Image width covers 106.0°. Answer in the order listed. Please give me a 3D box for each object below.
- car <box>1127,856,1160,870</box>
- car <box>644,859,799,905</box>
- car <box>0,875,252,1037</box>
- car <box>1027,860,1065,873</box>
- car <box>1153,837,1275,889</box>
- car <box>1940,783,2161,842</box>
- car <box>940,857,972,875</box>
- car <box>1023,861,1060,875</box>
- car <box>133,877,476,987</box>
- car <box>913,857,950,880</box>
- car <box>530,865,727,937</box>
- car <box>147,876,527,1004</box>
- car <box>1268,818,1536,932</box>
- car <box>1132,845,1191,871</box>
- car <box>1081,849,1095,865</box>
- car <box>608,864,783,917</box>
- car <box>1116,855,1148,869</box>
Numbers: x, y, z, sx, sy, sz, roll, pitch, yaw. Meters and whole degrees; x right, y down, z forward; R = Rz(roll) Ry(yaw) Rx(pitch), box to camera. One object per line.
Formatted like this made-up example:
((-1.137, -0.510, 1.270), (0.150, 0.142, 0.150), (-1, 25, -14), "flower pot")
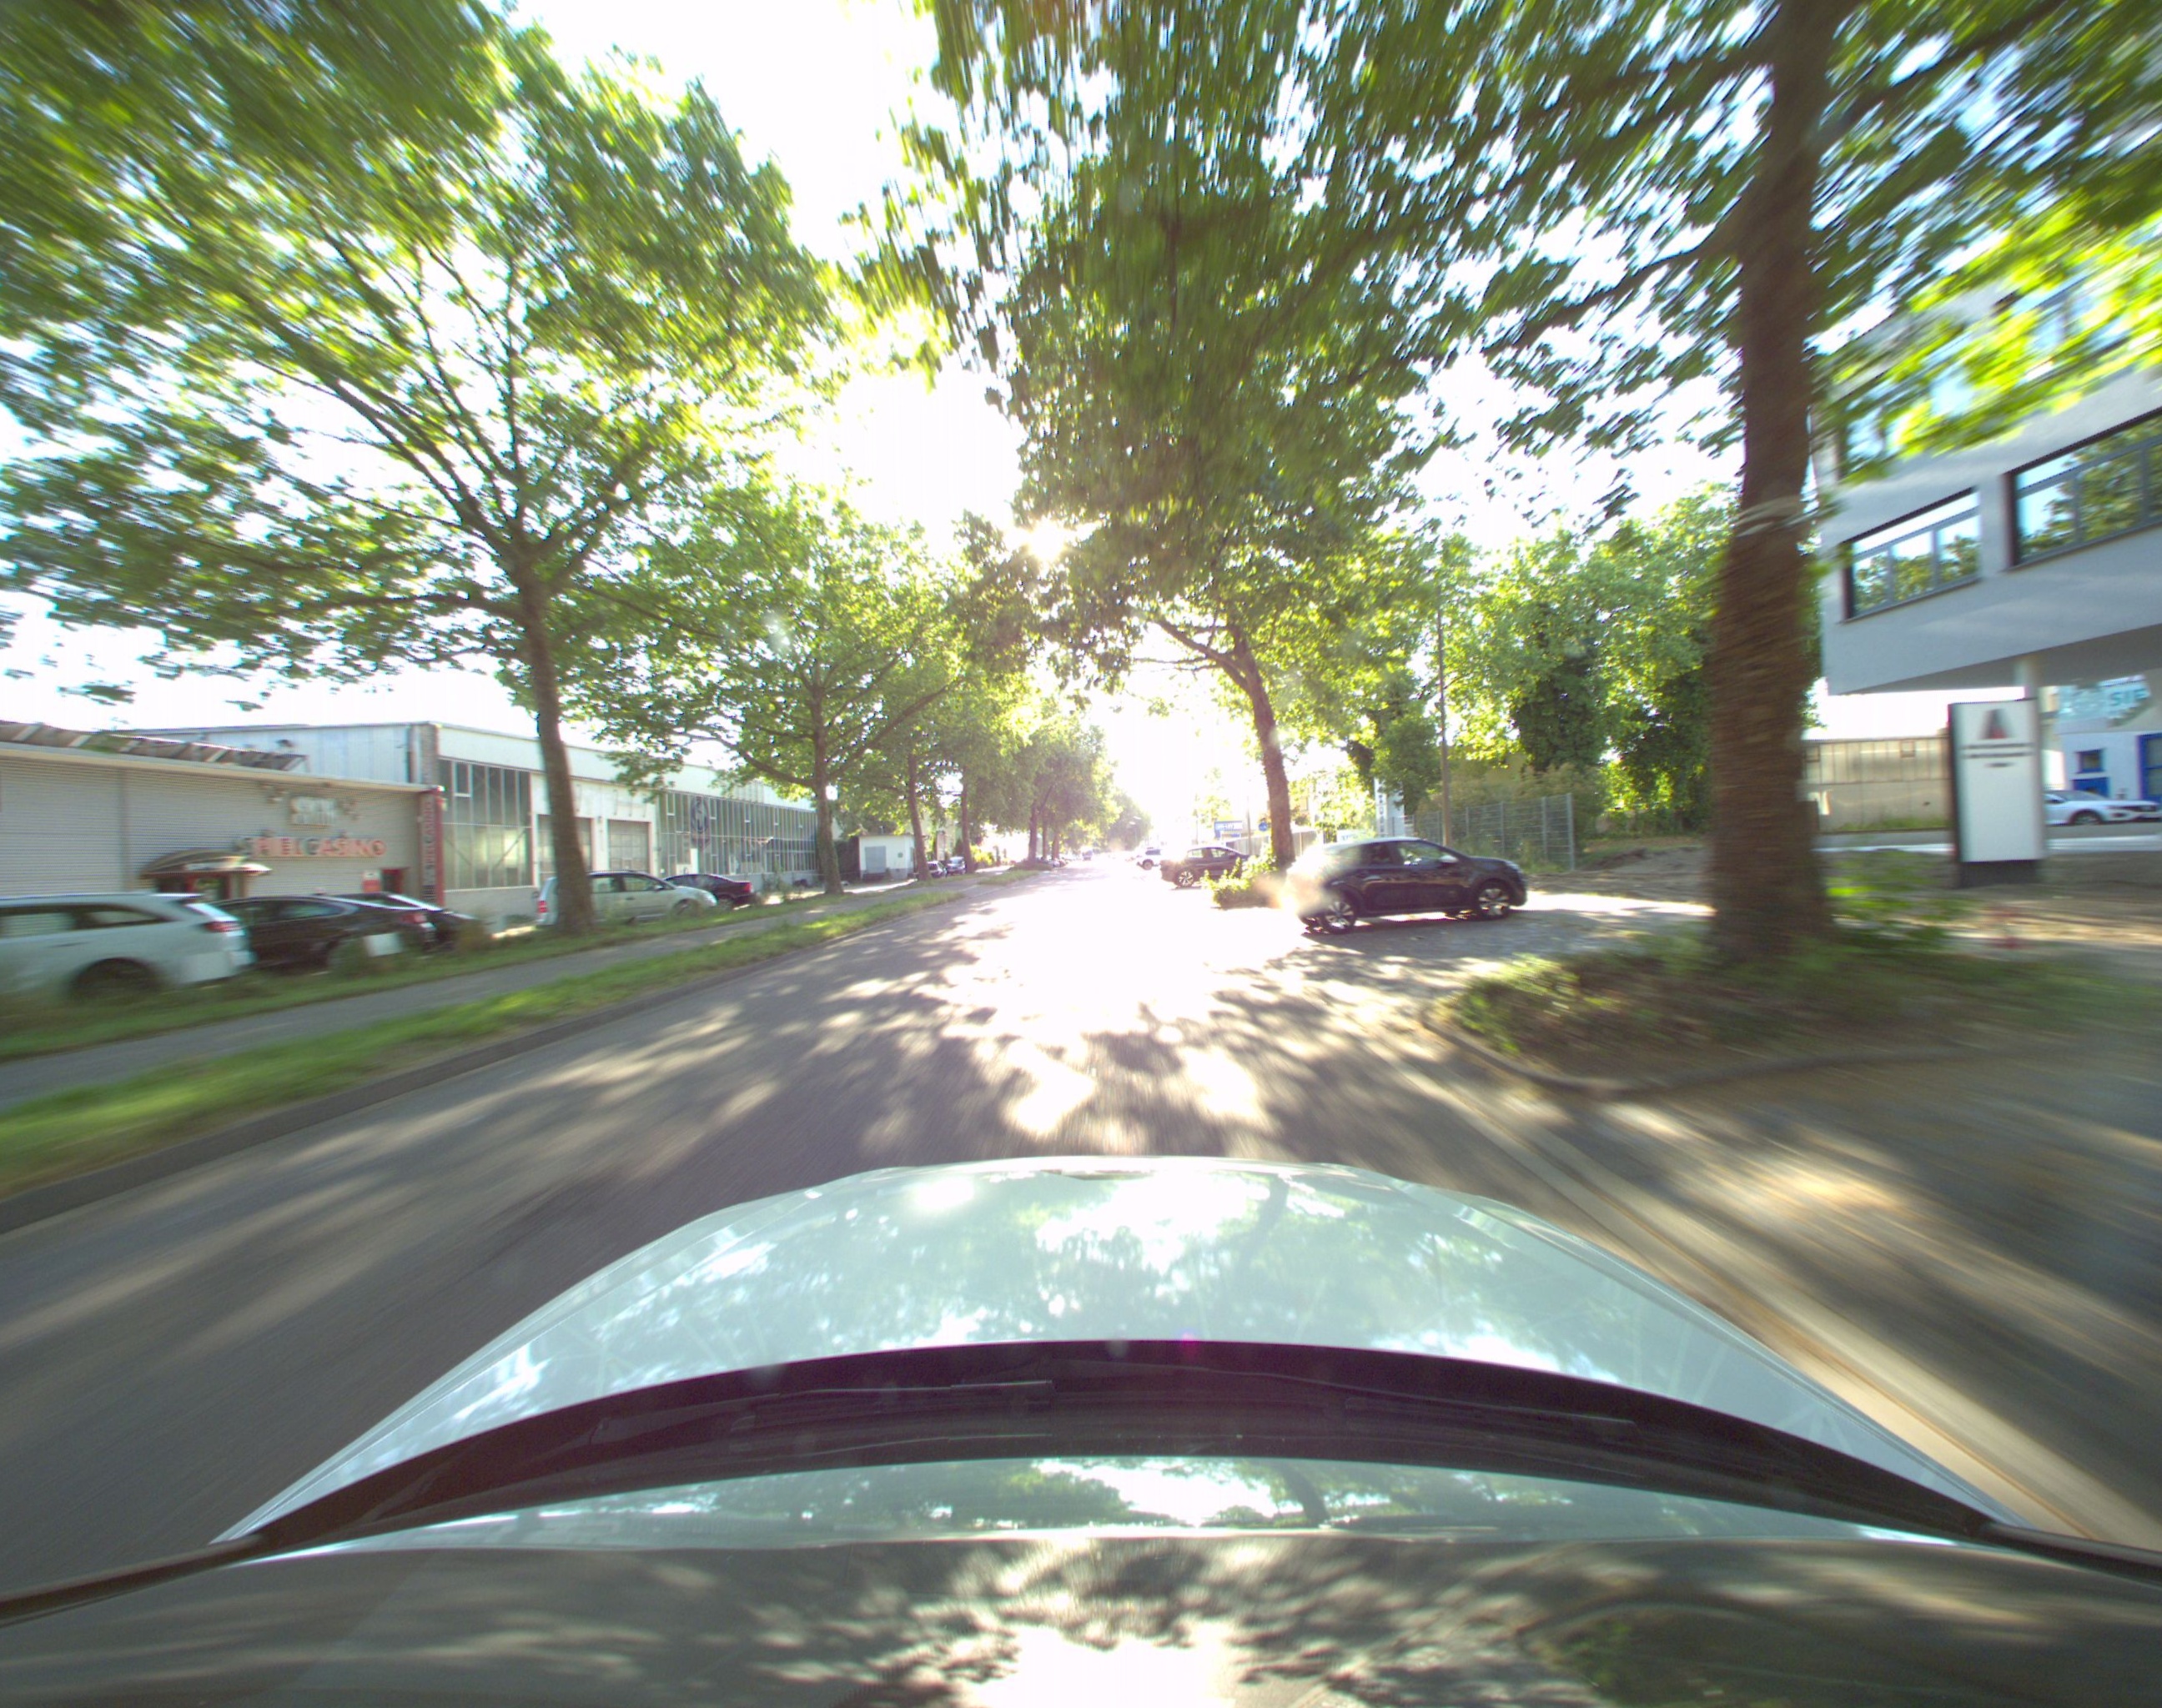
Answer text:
((8.949, 1.224, 116.323), (4.581, 1.579, 2.002), (-5, -1, 3), "car")
((-12.354, 0.908, 28.122), (4.508, 1.306, 1.976), (-2, 0, -40), "car")
((-12.508, 1.135, 9.262), (1.975, 1.699, 4.287), (-2, -1, 45), "car")
((-4.380, 1.593, 102.122), (4.584, 1.422, 2.000), (-2, 0, 0), "car")
((5.396, 0.363, 33.424), (4.558, 1.715, 1.942), (-5, -1, -3), "car")
((30.757, -1.241, 25.799), (1.988, 1.546, 4.770), (-1, -1, -2), "car")
((-11.394, 1.109, 74.386), (1.985, 1.576, 4.276), (-1, -1, 3), "car")
((-4.637, 1.653, 96.105), (4.341, 1.422, 1.999), (-2, 0, -1), "car")
((-13.722, 1.276, 14.848), (4.281, 1.629, 1.978), (0, -1, -36), "car")
((-10.802, 1.014, 58.926), (1.989, 1.369, 3.916), (-6, 0, -3), "car")
((-12.281, 1.192, 22.213), (4.504, 1.731, 1.978), (0, -1, -36), "car")
((-11.698, 1.207, 13.115), (1.975, 1.629, 4.288), (-2, -1, 44), "car")
((5.363, 0.348, 13.980), (3.773, 1.486, 1.860), (-5, -1, -1), "car")
((6.683, 0.310, 67.951), (4.610, 1.712, 1.999), (-5, -1, -1), "car")
((1.241, 0.536, 141.971), (2.120, 2.659, 7.004), (-3, 0, 2), "car")
((-11.821, 1.061, 25.124), (4.508, 1.306, 1.976), (-2, 0, -40), "car")
((7.540, 1.228, 120.623), (4.585, 1.613, 2.000), (-5, -1, 0), "car")
